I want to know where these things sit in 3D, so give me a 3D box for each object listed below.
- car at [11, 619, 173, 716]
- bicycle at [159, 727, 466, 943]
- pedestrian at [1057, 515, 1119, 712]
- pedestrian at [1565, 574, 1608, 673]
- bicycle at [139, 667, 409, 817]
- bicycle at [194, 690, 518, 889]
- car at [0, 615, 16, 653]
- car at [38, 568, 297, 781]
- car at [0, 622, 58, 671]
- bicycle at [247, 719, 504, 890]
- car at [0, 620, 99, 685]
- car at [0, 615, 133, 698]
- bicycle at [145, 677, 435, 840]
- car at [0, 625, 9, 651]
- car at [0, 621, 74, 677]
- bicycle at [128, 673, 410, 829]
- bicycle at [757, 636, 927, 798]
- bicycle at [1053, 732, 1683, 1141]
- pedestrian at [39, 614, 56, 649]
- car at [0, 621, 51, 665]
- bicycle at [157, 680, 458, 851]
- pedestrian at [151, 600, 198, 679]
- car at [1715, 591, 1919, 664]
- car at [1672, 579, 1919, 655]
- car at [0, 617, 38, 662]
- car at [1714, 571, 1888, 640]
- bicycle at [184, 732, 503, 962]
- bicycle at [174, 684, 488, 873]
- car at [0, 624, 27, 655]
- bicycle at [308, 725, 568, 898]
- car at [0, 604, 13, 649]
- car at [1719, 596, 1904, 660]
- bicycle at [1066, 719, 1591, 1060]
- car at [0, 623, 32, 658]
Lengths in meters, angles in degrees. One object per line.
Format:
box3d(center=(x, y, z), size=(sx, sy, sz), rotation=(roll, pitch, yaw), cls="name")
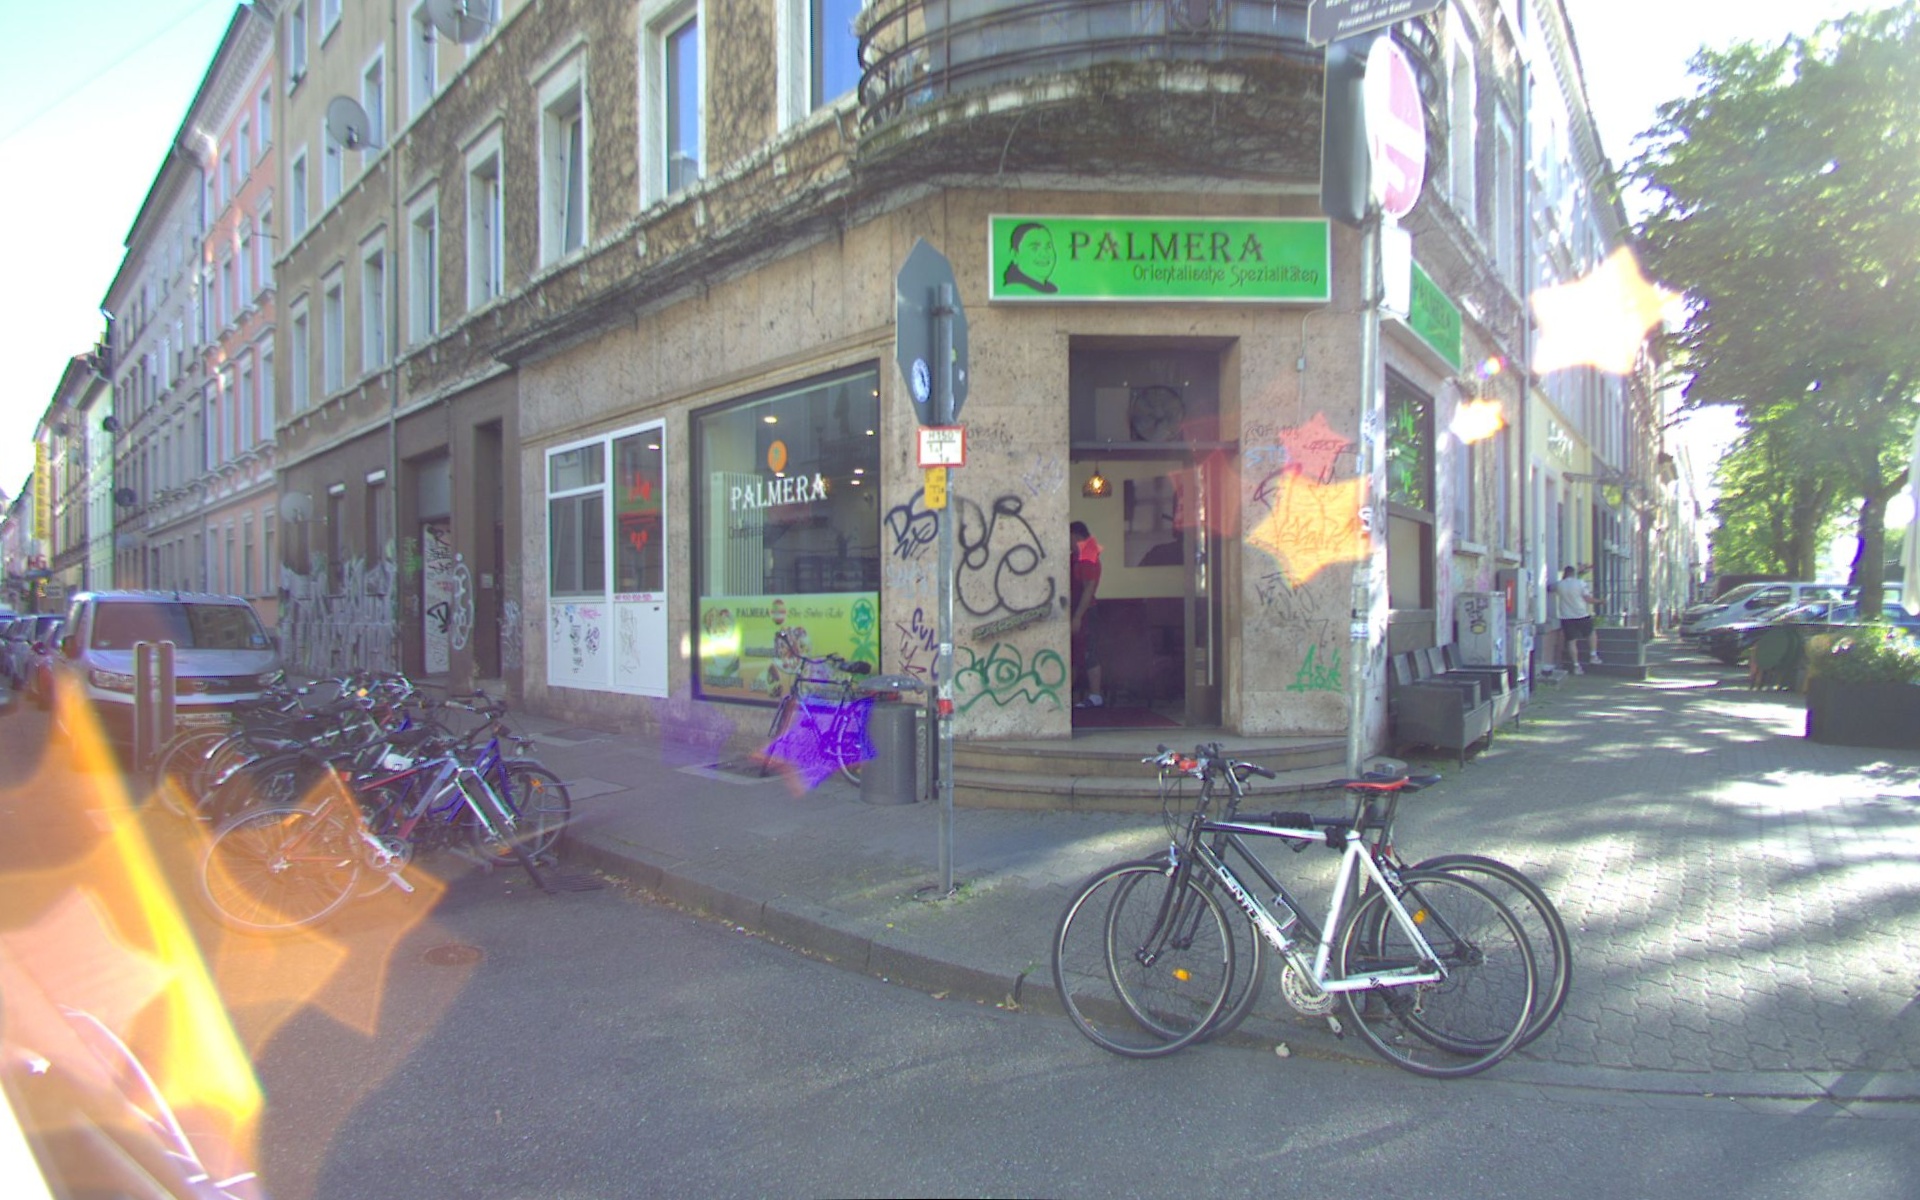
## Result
box3d(center=(-15.104, 1.095, 17.543), size=(4.203, 1.485, 1.660), rotation=(-1, -3, 43), cls="car")
box3d(center=(-3.268, 1.140, 5.208), size=(0.354, 0.824, 1.297), rotation=(-1, -1, 34), cls="bicycle")
box3d(center=(1.167, 0.118, 9.191), size=(0.429, 1.729, 0.404), rotation=(-1, 0, 27), cls="pedestrian")
box3d(center=(10.663, 0.404, 17.231), size=(0.538, 1.655, 0.563), rotation=(-3, -2, 35), cls="pedestrian")
box3d(center=(-5.456, 1.085, 8.144), size=(0.463, 0.996, 1.745), rotation=(-2, -1, 43), cls="bicycle")
box3d(center=(-3.761, 1.123, 6.452), size=(0.427, 0.969, 1.748), rotation=(-2, -1, 37), cls="bicycle")
box3d(center=(-49.778, 1.738, 52.099), size=(1.727, 1.906, 4.776), rotation=(0, -1, -43), cls="car")
box3d(center=(-9.003, 0.751, 11.335), size=(4.521, 1.924, 1.660), rotation=(-1, -4, 45), cls="car")
box3d(center=(-30.194, 1.451, 32.601), size=(1.658, 1.474, 3.865), rotation=(0, -1, -41), cls="car")
box3d(center=(-3.477, 1.179, 6.118), size=(0.381, 0.824, 1.297), rotation=(-2, -3, 34), cls="bicycle")
box3d(center=(-23.245, 1.296, 25.719), size=(3.611, 1.504, 1.661), rotation=(-2, -1, 42), cls="car")
box3d(center=(-18.358, 1.112, 20.751), size=(2.958, 1.561, 1.662), rotation=(-1, -2, 41), cls="car")
box3d(center=(-4.887, 1.108, 7.492), size=(0.422, 0.969, 1.745), rotation=(-2, -1, 43), cls="bicycle")
box3d(center=(-53.606, 2.081, 55.725), size=(3.862, 1.400, 1.660), rotation=(-1, -1, 45), cls="car")
box3d(center=(-26.712, 1.346, 29.025), size=(4.315, 1.474, 1.660), rotation=(-1, -1, 45), cls="car")
box3d(center=(-5.221, 1.096, 7.749), size=(0.405, 0.969, 1.745), rotation=(-2, -1, 43), cls="bicycle")
box3d(center=(-0.944, 0.842, 7.774), size=(1.592, 1.100, 0.393), rotation=(-1, -1, 45), cls="bicycle")
box3d(center=(1.152, 0.994, 3.094), size=(1.666, 1.053, 0.458), rotation=(-3, -1, 4), cls="bicycle")
box3d(center=(-48.741, 1.676, 54.040), size=(0.617, 1.844, 0.595), rotation=(-2, 0, -45), cls="pedestrian")
box3d(center=(-33.744, 1.522, 36.180), size=(3.862, 1.474, 1.660), rotation=(-1, -1, 45), cls="car")
box3d(center=(-4.563, 1.107, 7.184), size=(0.443, 0.969, 1.745), rotation=(-2, -1, 43), cls="bicycle")
box3d(center=(-18.877, 0.931, 24.311), size=(0.595, 1.844, 0.779), rotation=(-2, 0, 45), cls="pedestrian")
box3d(center=(19.465, 0.592, 21.936), size=(4.601, 1.502, 1.680), rotation=(-1, -1, 15), cls="car")
box3d(center=(23.755, 0.482, 28.762), size=(5.296, 2.006, 2.029), rotation=(-1, -1, 14), cls="car")
box3d(center=(-37.443, 1.537, 39.735), size=(3.862, 1.696, 1.660), rotation=(-1, -1, 45), cls="car")
box3d(center=(34.093, 0.187, 41.264), size=(5.185, 2.597, 2.219), rotation=(2, 1, 35), cls="car")
box3d(center=(-2.948, 1.134, 4.950), size=(0.370, 0.824, 1.297), rotation=(-1, -1, 34), cls="bicycle")
box3d(center=(-4.086, 1.104, 6.725), size=(0.480, 0.969, 1.751), rotation=(-1, -1, 32), cls="bicycle")
box3d(center=(-44.943, 1.840, 47.423), size=(3.862, 1.426, 1.660), rotation=(-1, -1, 45), cls="car")
box3d(center=(-3.089, 1.217, 6.106), size=(0.361, 0.824, 1.374), rotation=(-2, -3, 34), cls="bicycle")
box3d(center=(-57.833, 1.586, 60.070), size=(5.844, 2.611, 2.065), rotation=(-1, -1, 44), cls="car")
box3d(center=(22.340, 0.718, 26.677), size=(3.290, 1.514, 1.683), rotation=(-1, 2, 11), cls="car")
box3d(center=(1.221, 0.979, 3.564), size=(1.643, 1.054, 0.450), rotation=(-1, -1, 4), cls="bicycle")
box3d(center=(-41.413, 1.742, 43.821), size=(3.862, 1.468, 1.660), rotation=(-1, -1, 45), cls="car")
